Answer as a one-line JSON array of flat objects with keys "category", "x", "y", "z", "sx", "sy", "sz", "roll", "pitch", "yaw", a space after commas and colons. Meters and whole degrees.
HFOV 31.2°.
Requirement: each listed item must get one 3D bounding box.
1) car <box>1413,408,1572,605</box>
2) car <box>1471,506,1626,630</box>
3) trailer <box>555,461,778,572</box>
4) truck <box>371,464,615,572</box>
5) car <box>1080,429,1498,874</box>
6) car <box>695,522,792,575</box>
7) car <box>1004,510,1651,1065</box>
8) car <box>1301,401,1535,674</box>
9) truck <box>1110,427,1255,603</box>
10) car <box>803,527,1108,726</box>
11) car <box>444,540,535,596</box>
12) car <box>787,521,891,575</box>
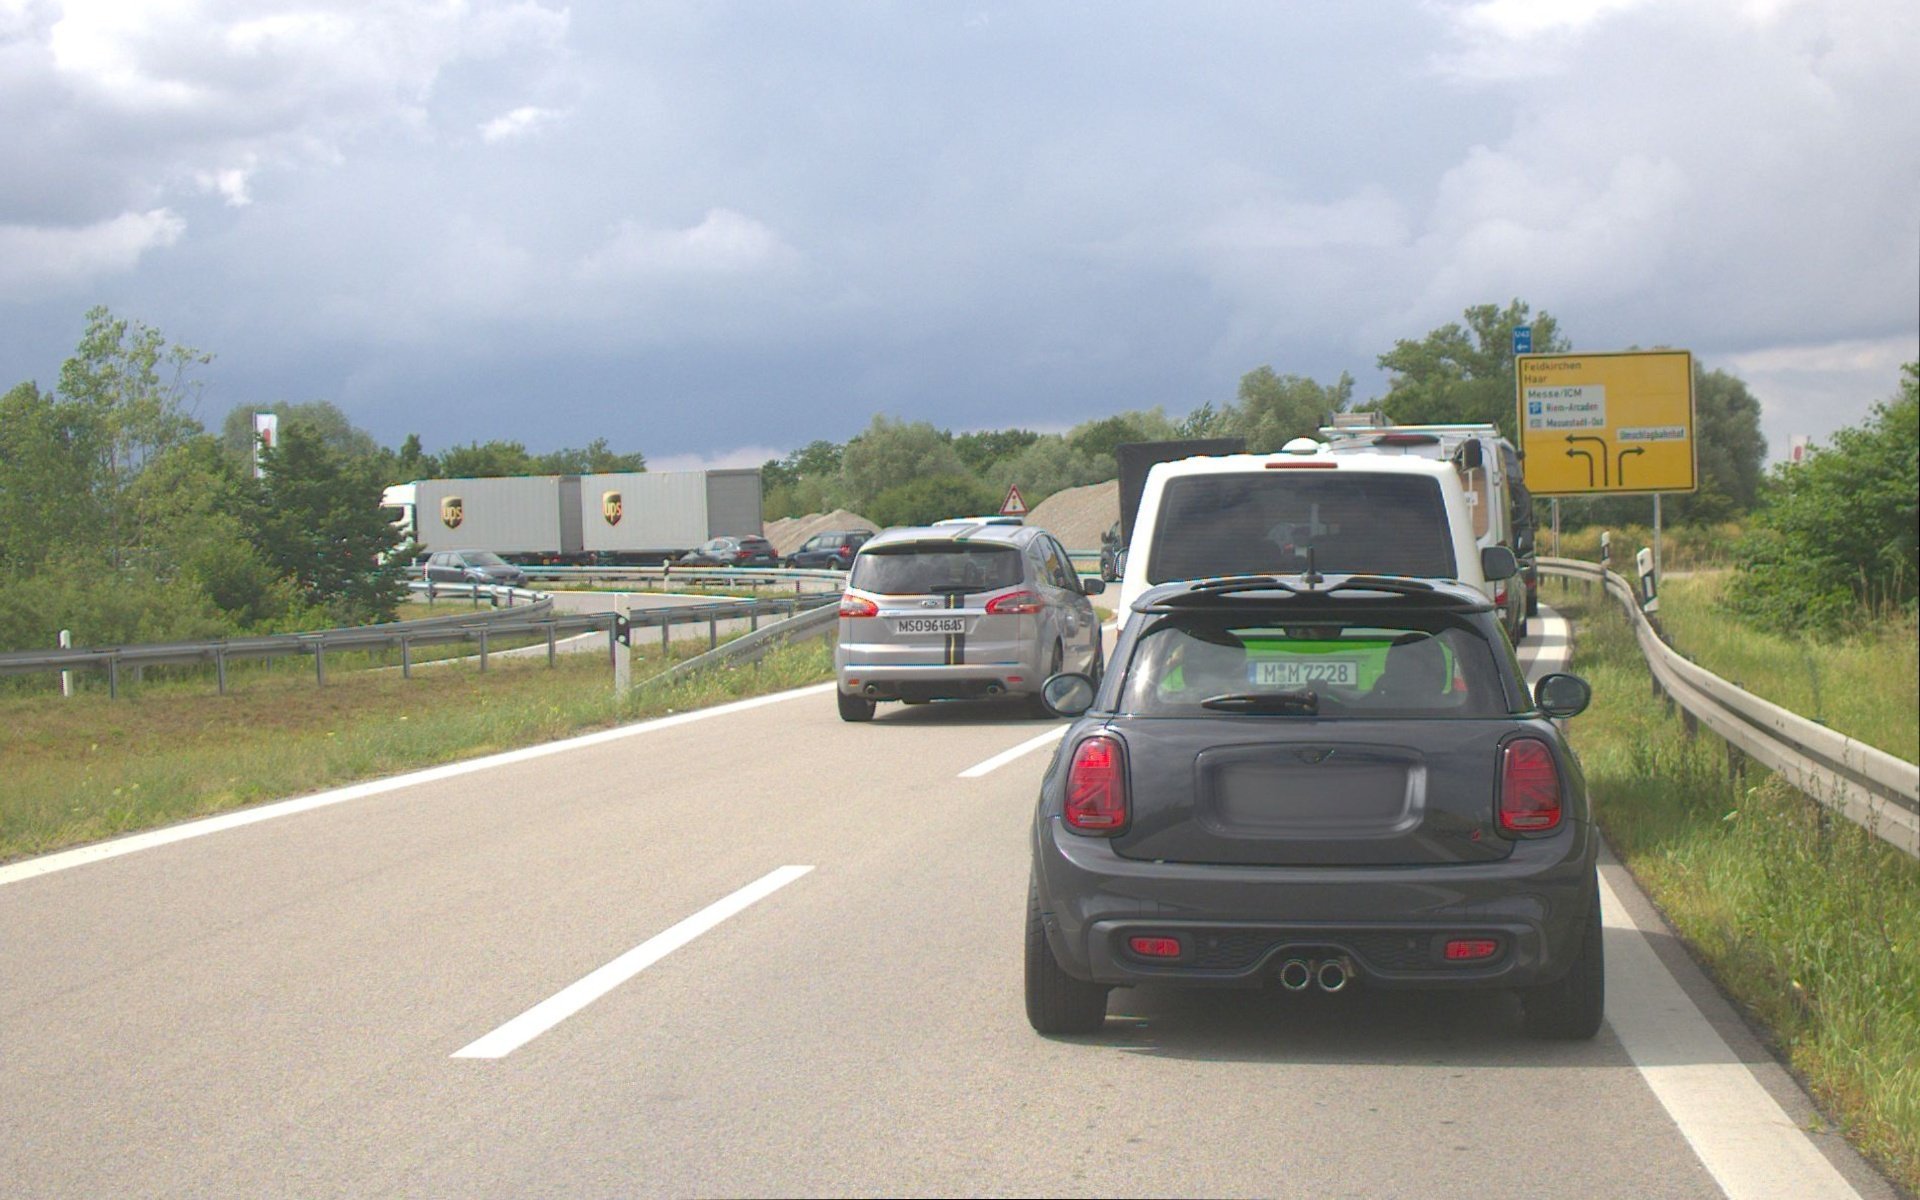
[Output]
[{"category": "car", "x": 8.917, "y": -1.469, "z": 57.095, "sx": 2.312, "sy": 3.058, "sz": 6.658, "roll": 1, "pitch": 0, "yaw": 11}, {"category": "car", "x": 8.160, "y": -0.430, "z": 47.975, "sx": 1.994, "sy": 1.636, "sz": 3.927, "roll": 1, "pitch": 0, "yaw": 8}, {"category": "trailer", "x": -10.758, "y": -2.996, "z": 125.209, "sx": 8.766, "sy": 3.885, "sz": 3.038, "roll": 1, "pitch": 0, "yaw": 44}, {"category": "truck", "x": -17.890, "y": -3.115, "z": 131.209, "sx": 10.018, "sy": 3.962, "sz": 2.839, "roll": 1, "pitch": 0, "yaw": 36}, {"category": "car", "x": 1.780, "y": 0.216, "z": 17.936, "sx": 1.911, "sy": 2.038, "sz": 4.180, "roll": 0, "pitch": 0, "yaw": 8}, {"category": "car", "x": -7.424, "y": -1.745, "z": 117.373, "sx": 1.812, "sy": 1.750, "sz": 4.001, "roll": 1, "pitch": 0, "yaw": -27}, {"category": "car", "x": 1.175, "y": 0.499, "z": 11.541, "sx": 1.800, "sy": 1.541, "sz": 3.738, "roll": 0, "pitch": 1, "yaw": 5}, {"category": "car", "x": 4.816, "y": -0.609, "z": 36.058, "sx": 2.212, "sy": 2.613, "sz": 5.532, "roll": 1, "pitch": 0, "yaw": 8}, {"category": "truck", "x": 4.202, "y": -1.547, "z": 66.168, "sx": 2.560, "sy": 3.157, "sz": 7.467, "roll": 1, "pitch": 0, "yaw": 2}, {"category": "car", "x": 0.054, "y": 0.209, "z": 29.952, "sx": 2.022, "sy": 1.572, "sz": 4.585, "roll": -1, "pitch": 0, "yaw": 8}, {"category": "car", "x": -14.931, "y": -0.999, "z": 108.912, "sx": 1.759, "sy": 1.587, "sz": 4.001, "roll": -3, "pitch": 0, "yaw": -24}, {"category": "car", "x": -4.234, "y": -1.792, "z": 119.403, "sx": 1.921, "sy": 1.831, "sz": 4.318, "roll": 1, "pitch": 0, "yaw": -28}]
